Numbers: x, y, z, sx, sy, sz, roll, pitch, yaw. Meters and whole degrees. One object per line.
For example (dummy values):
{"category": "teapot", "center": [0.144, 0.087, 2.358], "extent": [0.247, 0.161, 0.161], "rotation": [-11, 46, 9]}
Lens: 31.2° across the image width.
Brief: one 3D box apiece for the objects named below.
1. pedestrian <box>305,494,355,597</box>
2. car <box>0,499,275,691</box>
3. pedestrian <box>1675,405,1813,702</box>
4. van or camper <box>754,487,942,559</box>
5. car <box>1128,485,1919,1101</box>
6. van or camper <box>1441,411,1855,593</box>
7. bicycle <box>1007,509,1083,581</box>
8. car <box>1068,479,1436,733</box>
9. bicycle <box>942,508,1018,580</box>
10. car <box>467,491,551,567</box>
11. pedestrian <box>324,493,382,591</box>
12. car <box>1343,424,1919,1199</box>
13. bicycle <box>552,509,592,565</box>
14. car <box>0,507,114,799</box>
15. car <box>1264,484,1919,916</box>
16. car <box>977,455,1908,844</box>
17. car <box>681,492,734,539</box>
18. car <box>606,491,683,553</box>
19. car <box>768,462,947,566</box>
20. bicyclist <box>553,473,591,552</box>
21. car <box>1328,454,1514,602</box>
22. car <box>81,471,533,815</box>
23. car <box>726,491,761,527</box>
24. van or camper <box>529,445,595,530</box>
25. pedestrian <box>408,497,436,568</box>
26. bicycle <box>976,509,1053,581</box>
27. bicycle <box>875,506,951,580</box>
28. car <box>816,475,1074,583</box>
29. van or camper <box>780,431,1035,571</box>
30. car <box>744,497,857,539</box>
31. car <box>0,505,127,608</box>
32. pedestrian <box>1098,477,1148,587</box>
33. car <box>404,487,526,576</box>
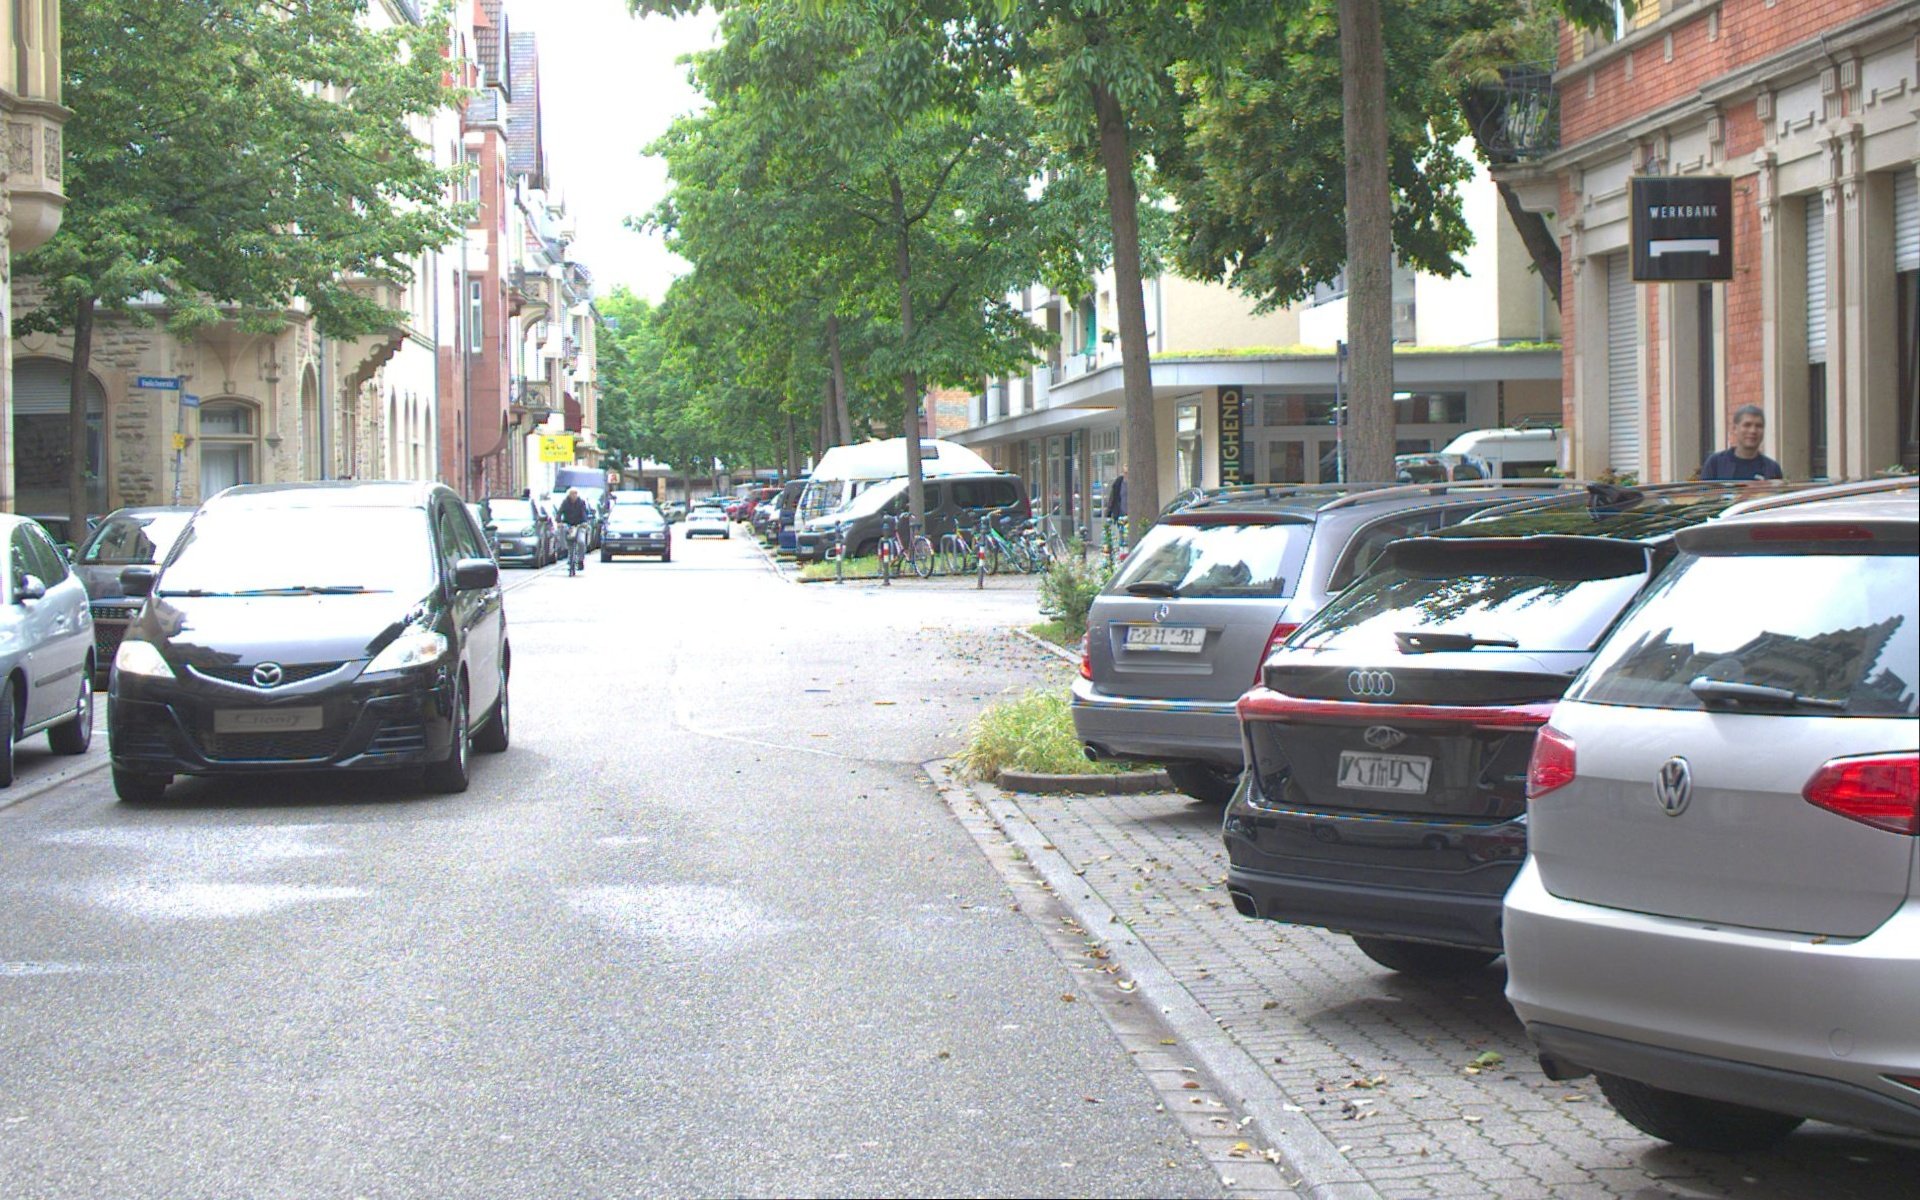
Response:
{"category": "pedestrian", "center": [-10.100, -0.871, 55.110], "extent": [0.616, 1.637, 0.603], "rotation": [0, 2, 8]}
{"category": "car", "center": [-6.810, -0.093, 28.439], "extent": [1.727, 1.429, 3.882], "rotation": [1, 2, -4]}
{"category": "pedestrian", "center": [4.664, -0.285, 20.473], "extent": [0.597, 1.727, 0.664], "rotation": [-1, 2, -5]}
{"category": "van or camper", "center": [-3.241, -2.243, 100.160], "extent": [5.006, 1.863, 2.127], "rotation": [-3, 2, -31]}
{"category": "car", "center": [2.473, 0.404, 9.995], "extent": [3.682, 1.461, 1.705], "rotation": [-2, 2, -35]}
{"category": "van or camper", "center": [10.153, -1.479, 51.117], "extent": [5.771, 2.485, 2.136], "rotation": [-1, 5, 3]}
{"category": "bicycle", "center": [1.416, -0.926, 57.598], "extent": [0.548, 1.169, 1.698], "rotation": [-2, 2, -25]}
{"category": "car", "center": [1.874, -0.032, 23.411], "extent": [1.764, 1.481, 4.480], "rotation": [-3, 2, -4]}
{"category": "bicycle", "center": [0.320, -0.932, 56.810], "extent": [0.548, 1.169, 1.729], "rotation": [-2, 2, -25]}
{"category": "car", "center": [-9.758, -1.556, 74.480], "extent": [1.646, 1.565, 2.957], "rotation": [1, 3, -5]}
{"category": "pedestrian", "center": [-9.886, -0.949, 56.002], "extent": [0.631, 1.588, 0.668], "rotation": [1, 2, 37]}
{"category": "car", "center": [2.749, 0.438, 7.170], "extent": [3.457, 1.557, 1.787], "rotation": [-1, 2, -26]}
{"category": "bicycle", "center": [-7.659, -1.251, 67.942], "extent": [0.634, 1.090, 1.799], "rotation": [-1, 1, -2]}
{"category": "car", "center": [-5.806, 0.218, 19.094], "extent": [1.589, 1.429, 3.811], "rotation": [1, 2, -5]}
{"category": "car", "center": [3.214, 0.281, 13.652], "extent": [3.873, 1.430, 1.746], "rotation": [-2, 3, -39]}
{"category": "car", "center": [2.349, 0.144, 15.956], "extent": [4.433, 1.422, 1.758], "rotation": [-5, 3, -41]}
{"category": "car", "center": [-9.951, -3.309, 135.460], "extent": [1.993, 1.788, 4.001], "rotation": [1, 1, -3]}
{"category": "car", "center": [-7.598, -1.860, 83.070], "extent": [1.708, 1.408, 3.853], "rotation": [-1, 1, -4]}
{"category": "car", "center": [-2.177, -1.884, 74.490], "extent": [2.063, 2.189, 4.393], "rotation": [0, 2, 26]}
{"category": "bicyclist", "center": [-7.665, -1.736, 67.937], "extent": [0.647, 1.533, 0.677], "rotation": [-1, 2, -2]}
{"category": "car", "center": [6.043, -0.983, 45.476], "extent": [1.770, 1.812, 4.001], "rotation": [-2, 2, -1]}
{"category": "car", "center": [-3.381, 0.129, 18.554], "extent": [1.809, 1.624, 4.208], "rotation": [-1, 2, -3]}
{"category": "car", "center": [-12.854, -5.393, 203.940], "extent": [1.993, 2.006, 4.001], "rotation": [2, 1, -5]}
{"category": "van or camper", "center": [-14.029, -3.996, 121.283], "extent": [2.008, 2.642, 5.318], "rotation": [1, 5, -4]}
{"category": "pedestrian", "center": [-11.554, -1.460, 73.800], "extent": [0.515, 1.513, 0.547], "rotation": [-1, 2, -4]}
{"category": "bicycle", "center": [0.900, -0.928, 57.128], "extent": [0.548, 1.169, 1.729], "rotation": [-2, 2, -25]}
{"category": "bicycle", "center": [-0.771, -0.936, 55.986], "extent": [0.548, 1.169, 1.729], "rotation": [-2, 2, -25]}
{"category": "car", "center": [-0.266, -1.326, 63.591], "extent": [4.332, 1.847, 1.911], "rotation": [-3, 2, -29]}
{"category": "van or camper", "center": [-0.983, -1.905, 65.674], "extent": [4.583, 2.587, 1.911], "rotation": [-2, 2, -36]}
{"category": "car", "center": [-6.193, -3.199, 133.780], "extent": [4.011, 1.554, 1.884], "rotation": [-2, 2, -34]}
{"category": "car", "center": [-14.879, -0.655, 52.997], "extent": [3.569, 1.455, 1.649], "rotation": [-1, 4, 5]}
{"category": "pedestrian", "center": [2.677, -1.123, 56.495], "extent": [0.779, 1.790, 0.509], "rotation": [0, 2, -2]}
{"category": "car", "center": [-8.568, -1.171, 59.779], "extent": [1.709, 1.489, 4.000], "rotation": [1, 1, -3]}
